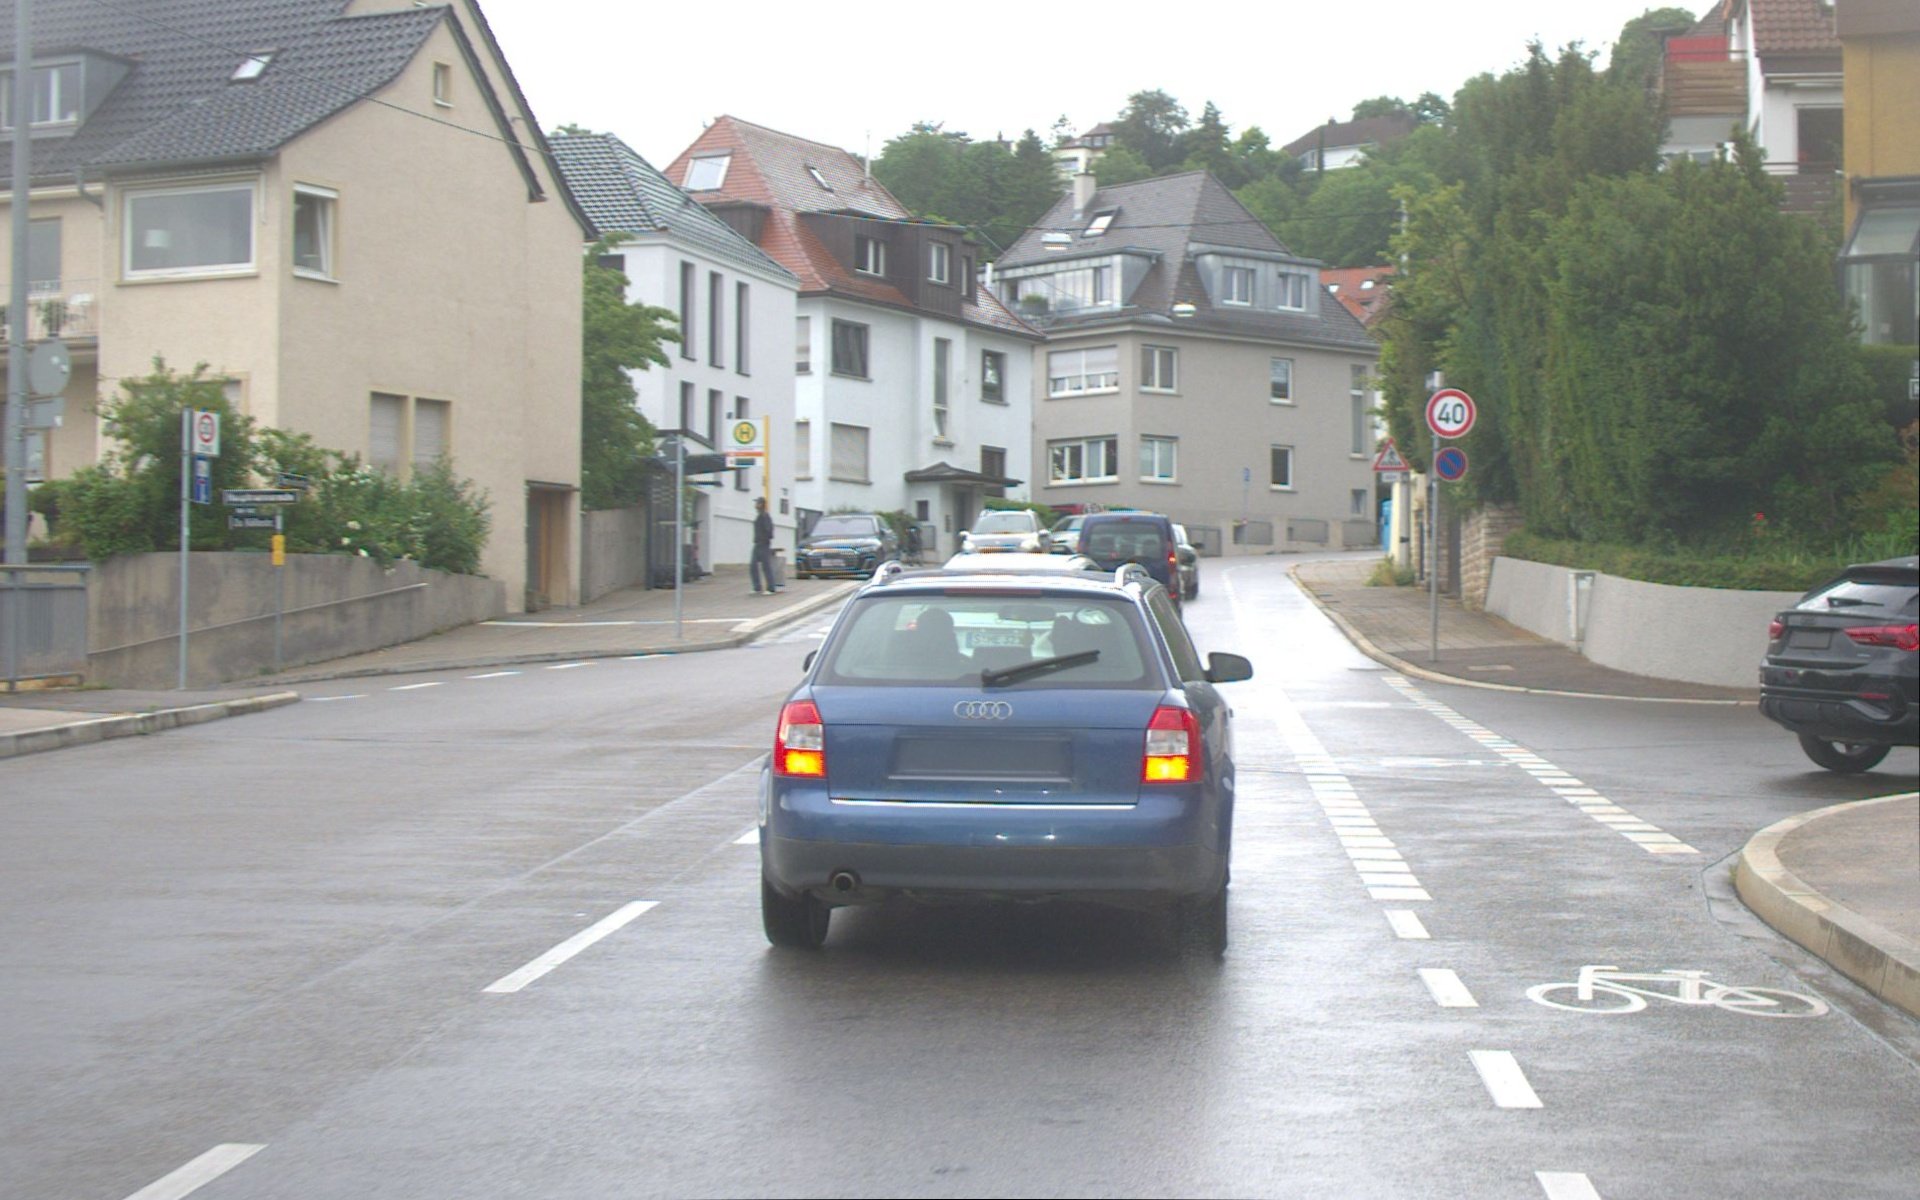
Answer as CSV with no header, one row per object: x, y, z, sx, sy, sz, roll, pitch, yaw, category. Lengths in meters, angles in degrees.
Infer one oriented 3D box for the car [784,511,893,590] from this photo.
-2.695,-1.097,77.079,1.994,1.702,3.999,0,0,4,car

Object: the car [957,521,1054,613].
0.898,-0.678,69.622,1.822,1.724,3.785,3,1,0,car

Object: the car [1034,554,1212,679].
2.064,0.198,42.491,1.891,1.384,3.999,3,0,6,car

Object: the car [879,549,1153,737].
0.550,0.346,29.072,1.891,1.384,3.999,3,0,6,car

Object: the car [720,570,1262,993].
0.272,0.598,13.739,1.747,1.403,3.999,1,1,7,car

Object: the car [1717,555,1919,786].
7.304,0.410,23.578,3.772,1.419,1.828,-2,2,-24,car

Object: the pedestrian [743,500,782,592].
-3.695,-1.022,64.502,0.658,1.685,0.581,-2,3,-2,pedestrian

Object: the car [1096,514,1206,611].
3.640,-0.733,66.095,1.822,1.724,3.785,3,1,0,car

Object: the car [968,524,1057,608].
1.137,-0.775,76.132,1.822,1.724,3.785,3,1,0,car

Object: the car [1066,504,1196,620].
2.599,-0.586,52.166,1.822,1.611,3.785,3,1,3,car
